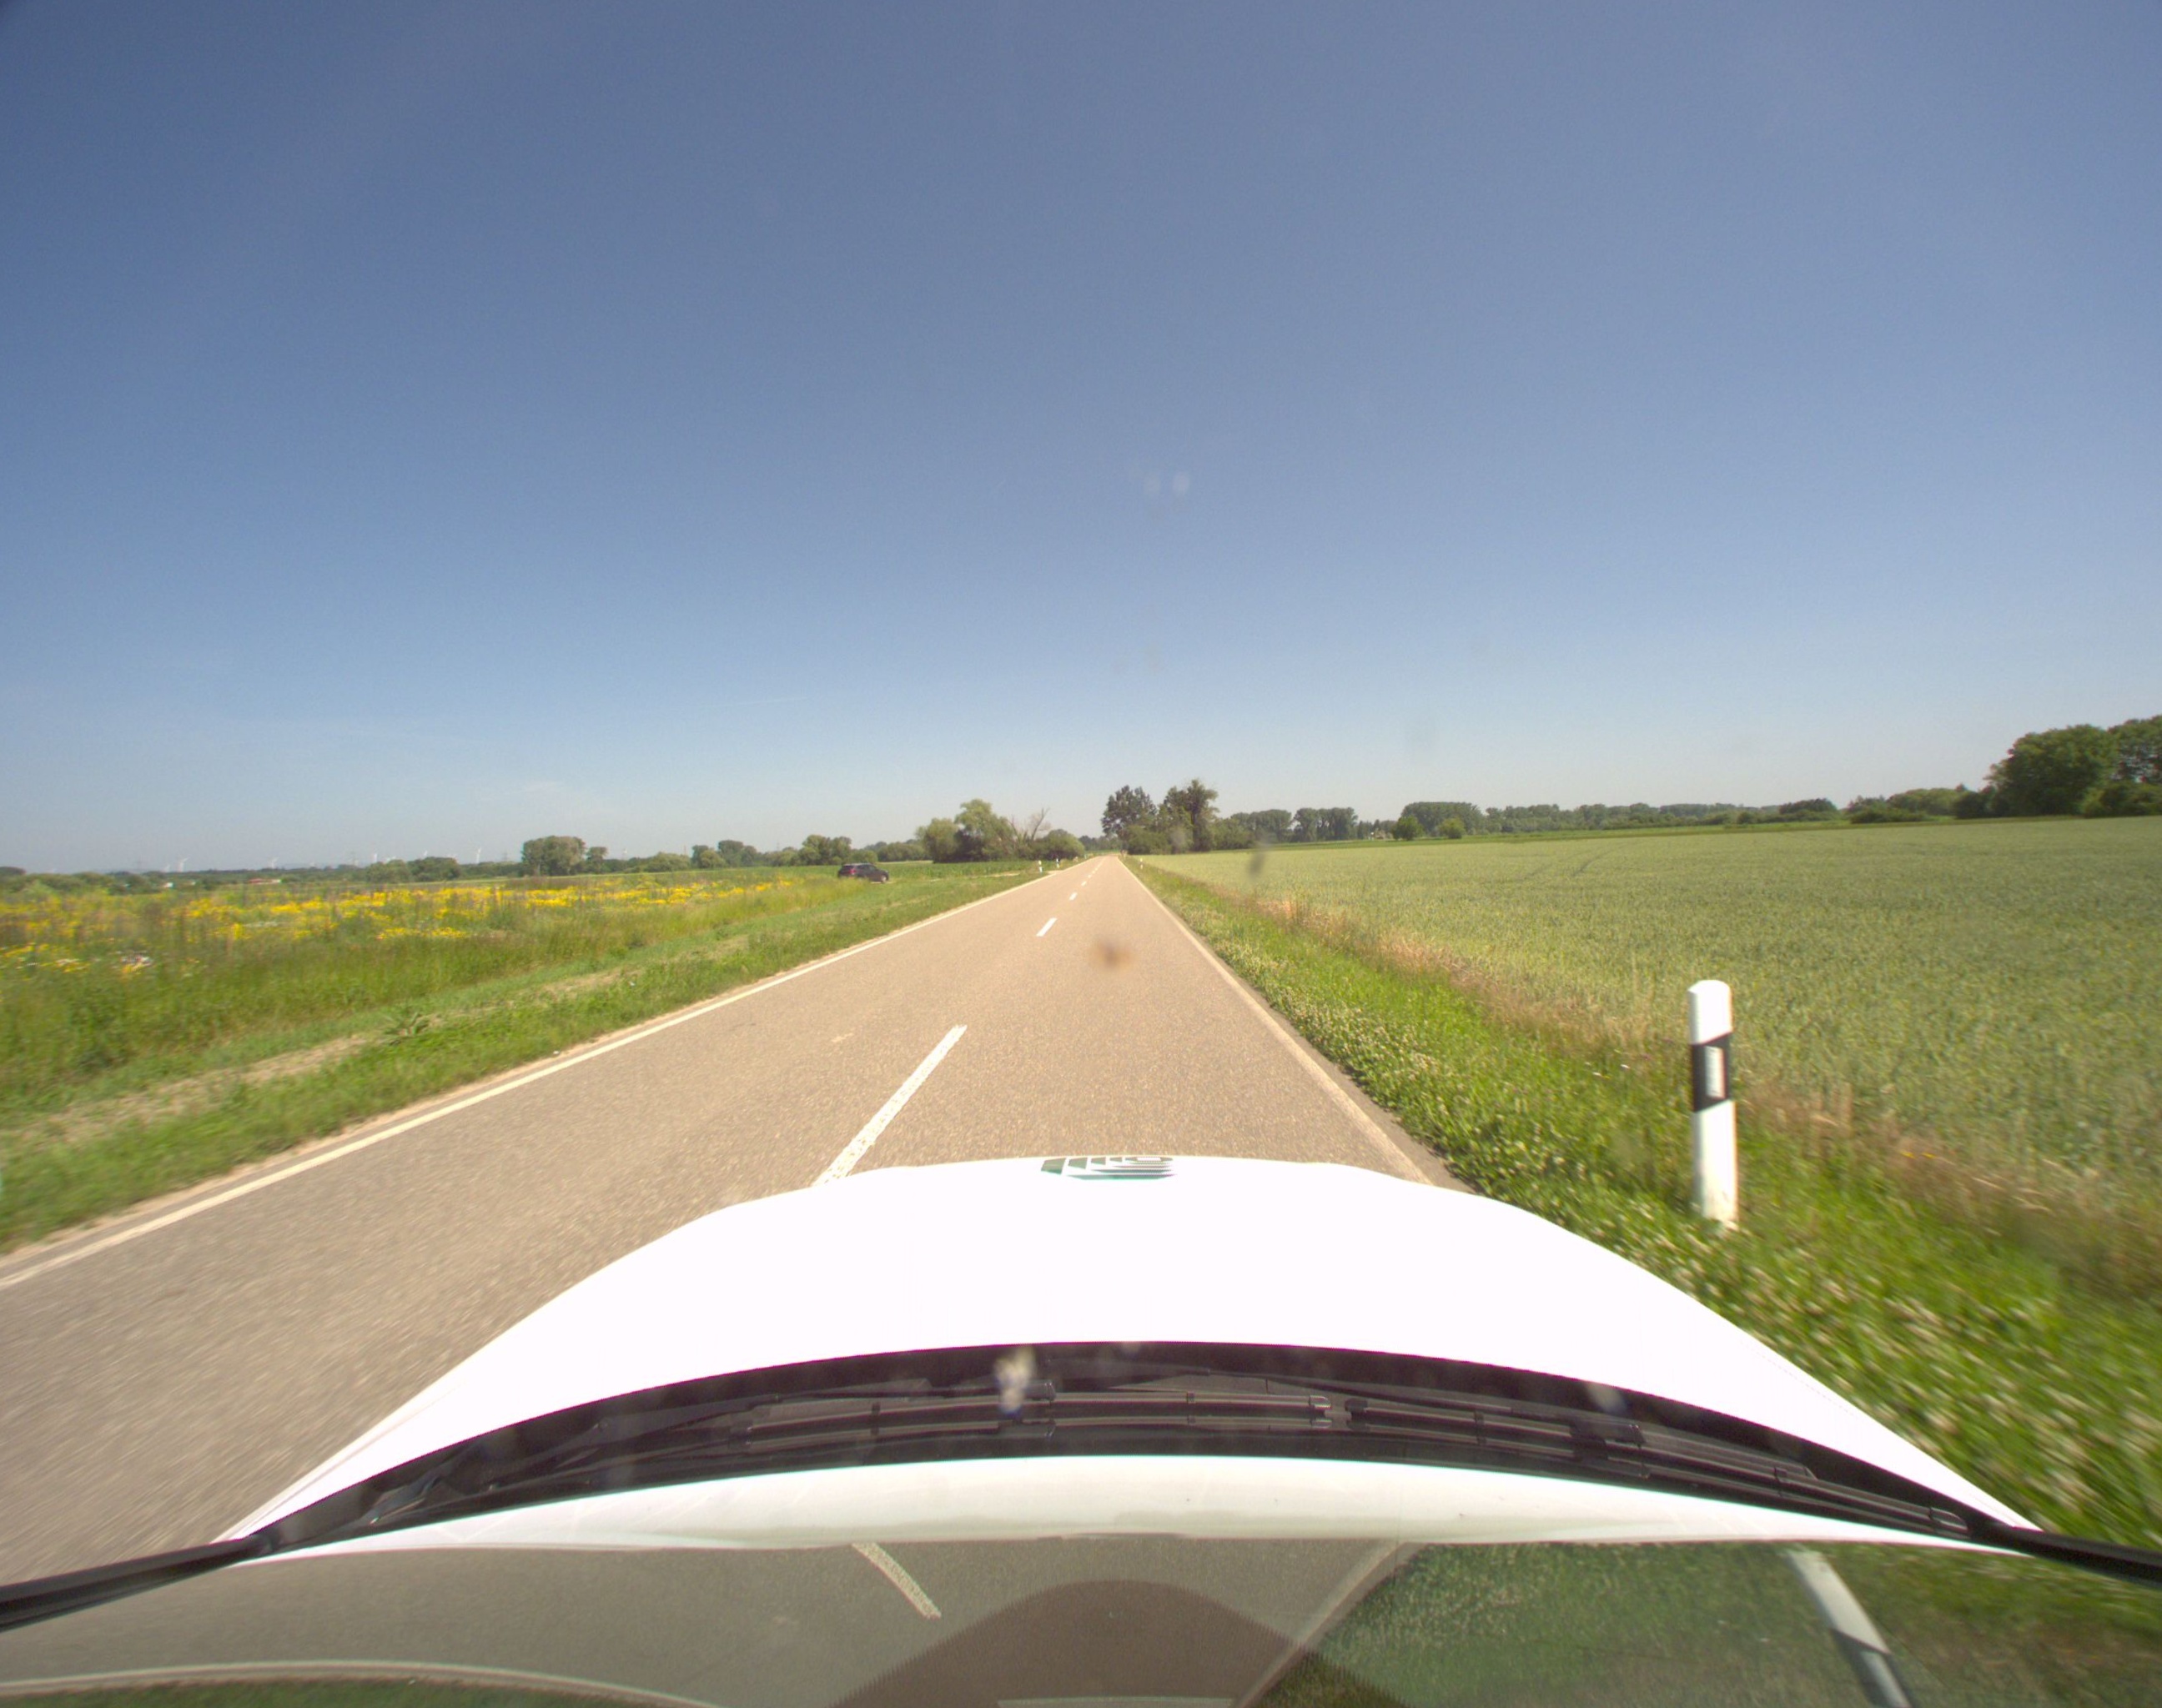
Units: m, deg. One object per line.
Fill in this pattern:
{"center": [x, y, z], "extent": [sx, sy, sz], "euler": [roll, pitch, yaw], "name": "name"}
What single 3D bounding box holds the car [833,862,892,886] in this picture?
{"center": [-16.853, 1.512, 63.061], "extent": [1.736, 1.651, 4.557], "euler": [-2, 0, 28], "name": "car"}
